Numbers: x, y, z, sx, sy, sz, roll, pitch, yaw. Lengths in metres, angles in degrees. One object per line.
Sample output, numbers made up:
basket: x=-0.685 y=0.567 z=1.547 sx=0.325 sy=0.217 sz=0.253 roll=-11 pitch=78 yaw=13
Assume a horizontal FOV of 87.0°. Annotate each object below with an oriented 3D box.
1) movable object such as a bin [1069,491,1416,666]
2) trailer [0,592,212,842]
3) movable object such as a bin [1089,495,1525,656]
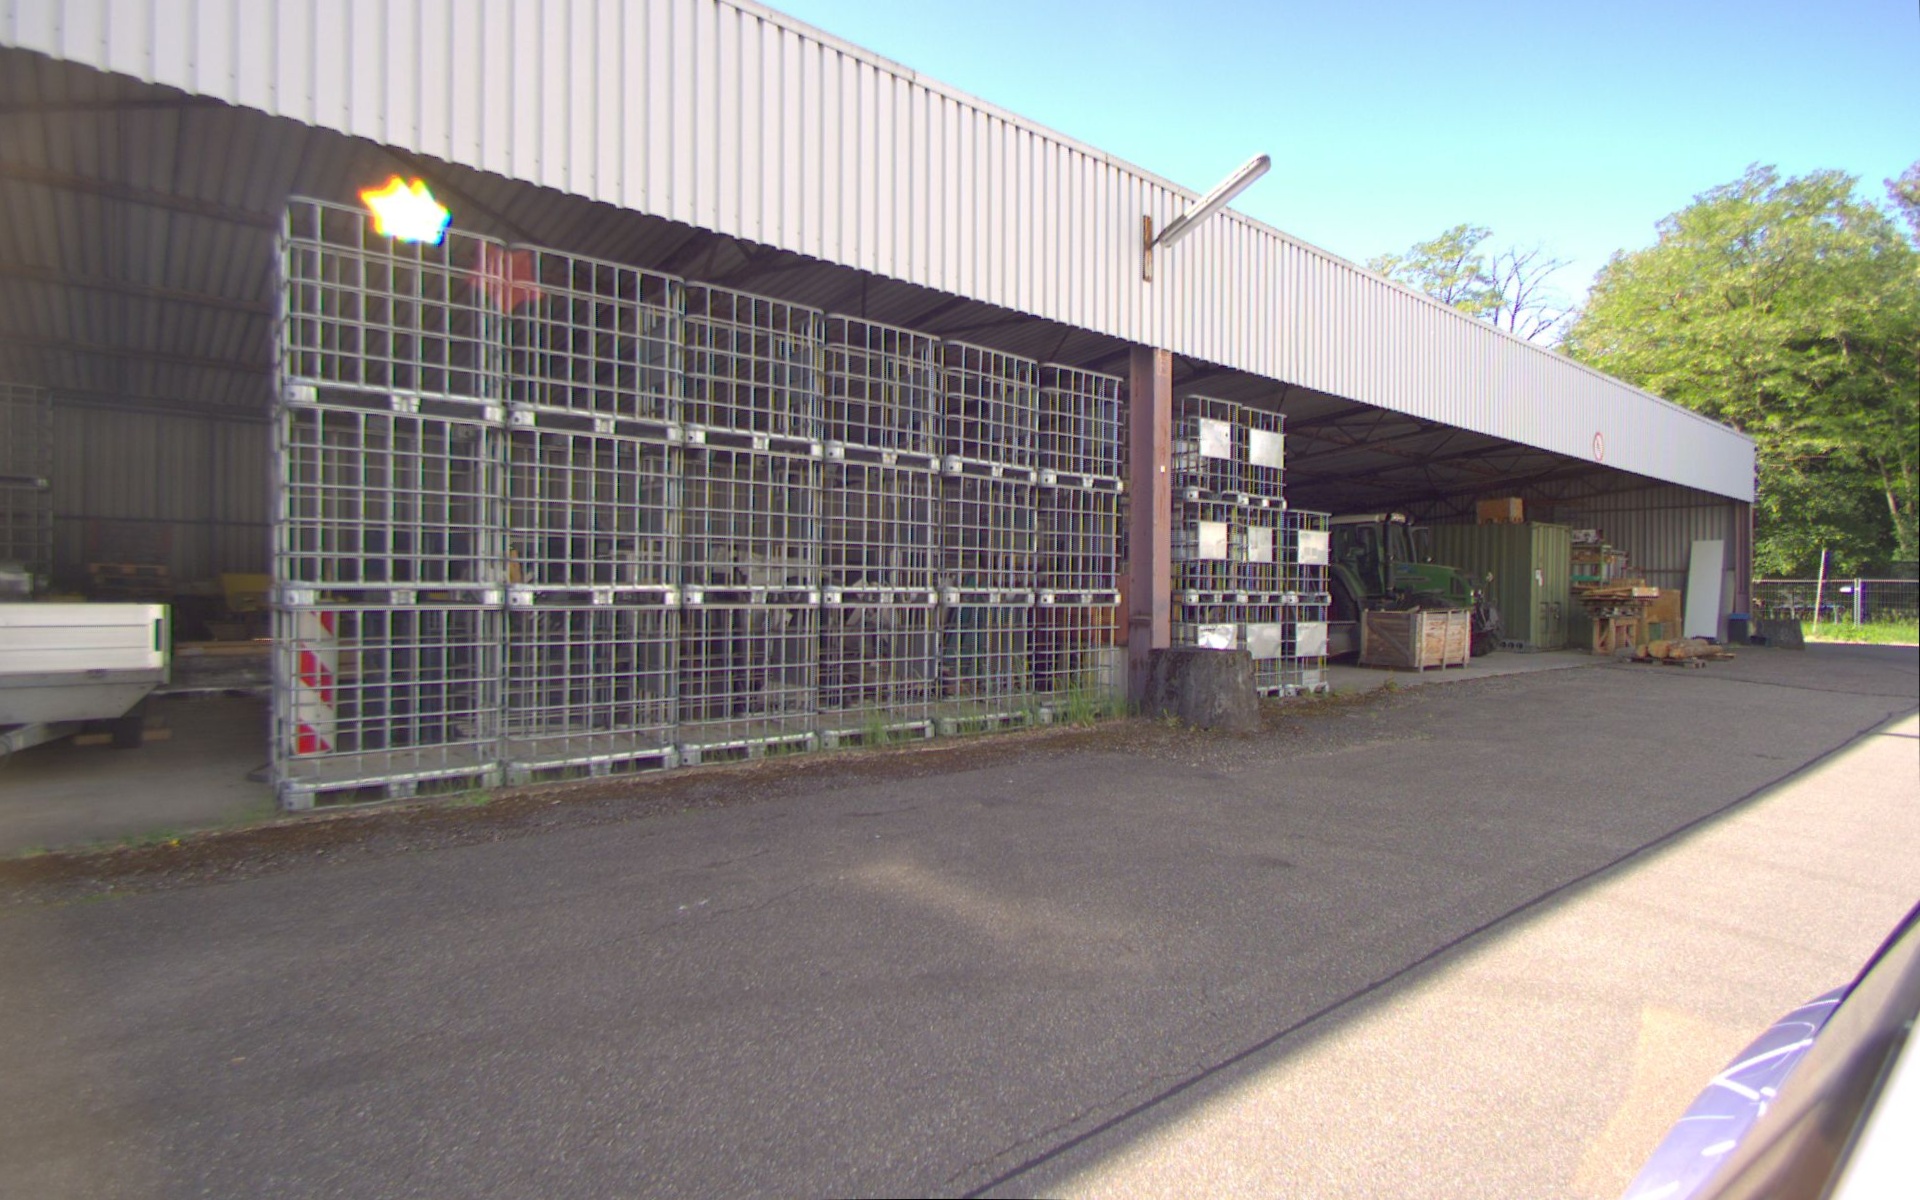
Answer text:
movable object such as a bin: x=5.437 y=-0.396 z=20.387 sx=2.962 sy=2.947 sz=6.199 roll=0 pitch=0 yaw=-39
trailer: x=-6.745 y=0.548 z=6.944 sx=2.104 sy=1.147 sz=5.857 roll=0 pitch=1 yaw=-41
movable object such as a bin: x=7.375 y=-0.487 z=23.135 sx=3.154 sy=2.947 sz=9.213 roll=0 pitch=0 yaw=-39
